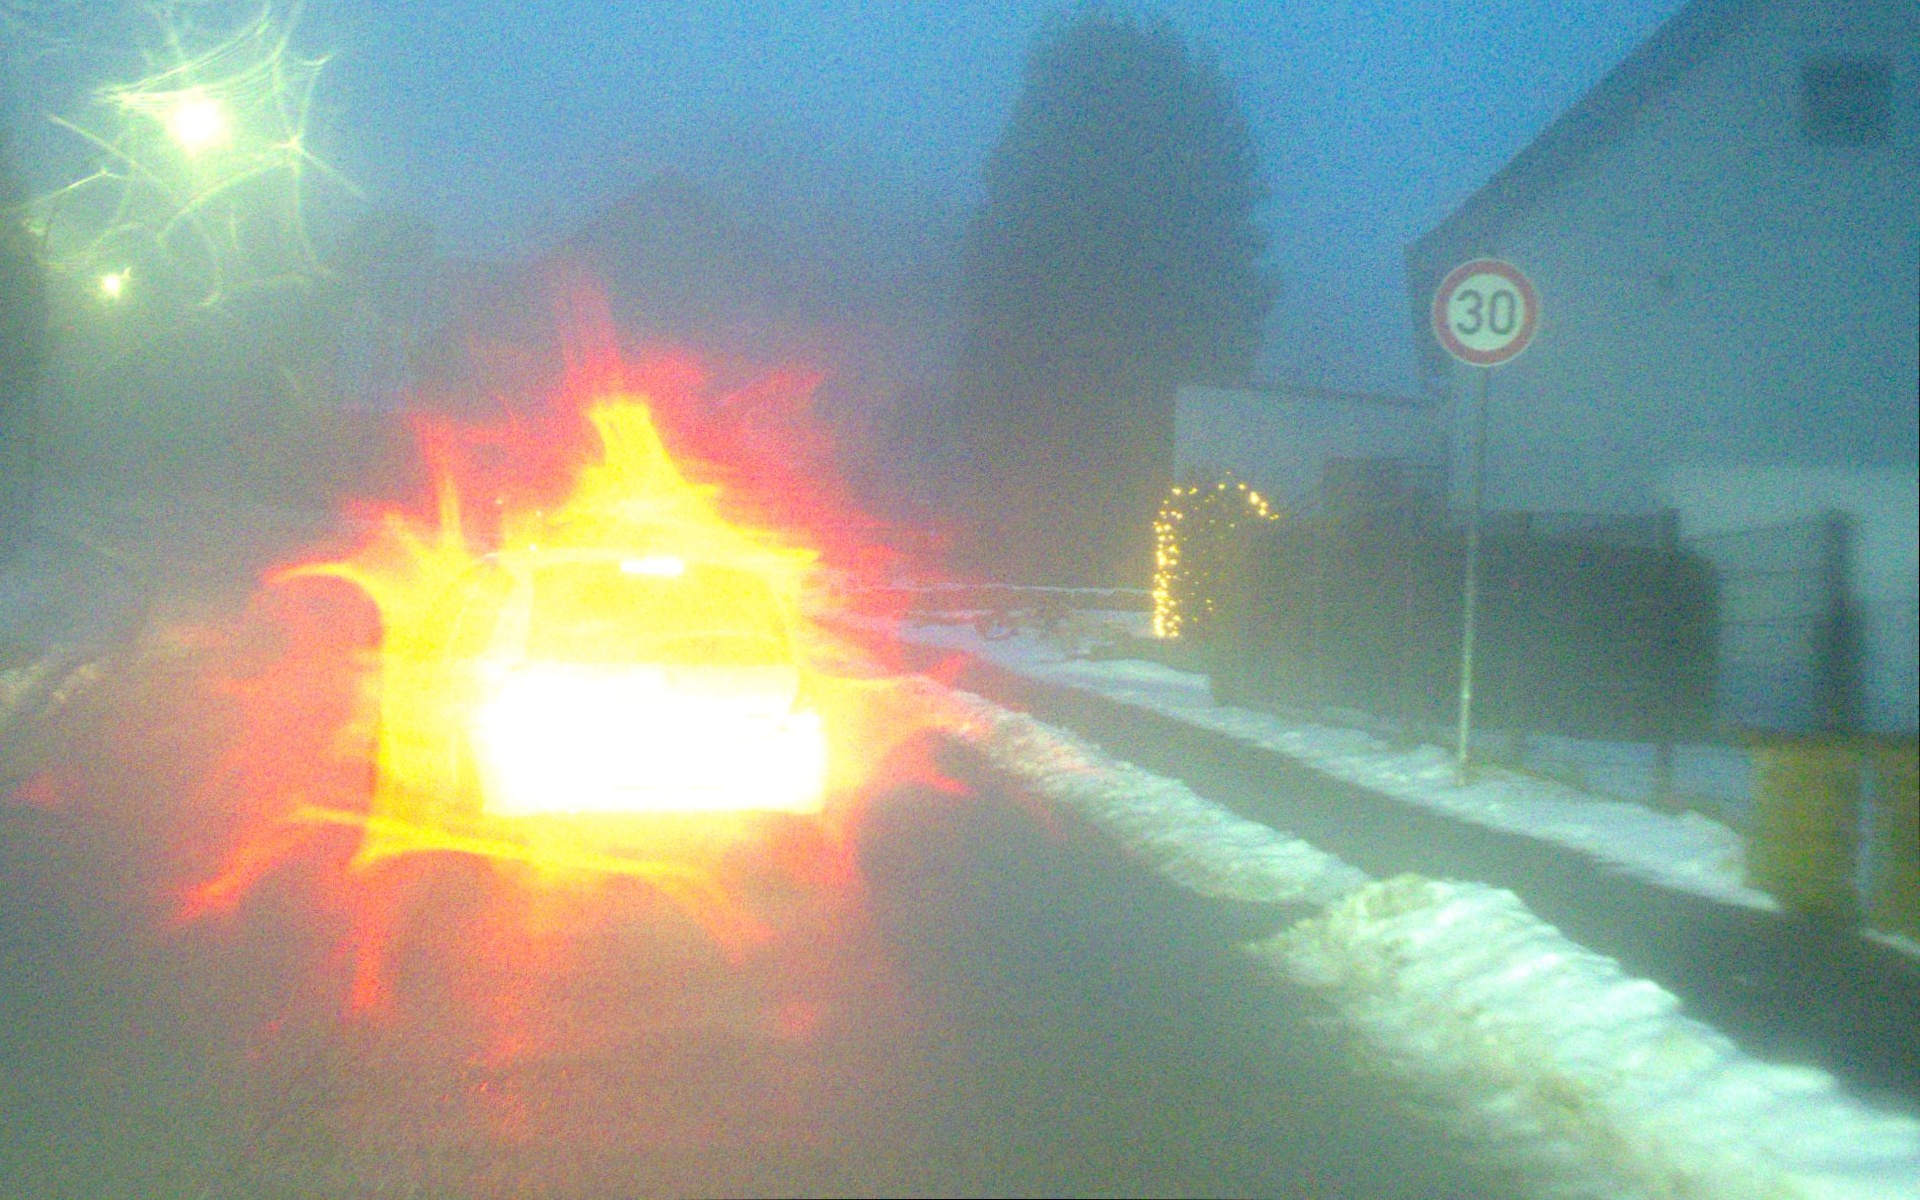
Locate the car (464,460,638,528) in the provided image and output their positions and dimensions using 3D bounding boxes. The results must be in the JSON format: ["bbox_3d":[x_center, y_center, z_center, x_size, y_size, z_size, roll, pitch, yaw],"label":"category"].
[{"bbox_3d":[-10.187,-2.624,85.481,4.157,1.554,1.946,1,0,-11],"label":"car"}]

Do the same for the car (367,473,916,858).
[{"bbox_3d":[-1.662,0.289,16.519,1.897,1.604,4.001,1,0,-16],"label":"car"}]

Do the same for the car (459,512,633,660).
[{"bbox_3d":[-5.192,-0.154,42.714,1.993,1.731,3.879,1,0,-9],"label":"car"}]
